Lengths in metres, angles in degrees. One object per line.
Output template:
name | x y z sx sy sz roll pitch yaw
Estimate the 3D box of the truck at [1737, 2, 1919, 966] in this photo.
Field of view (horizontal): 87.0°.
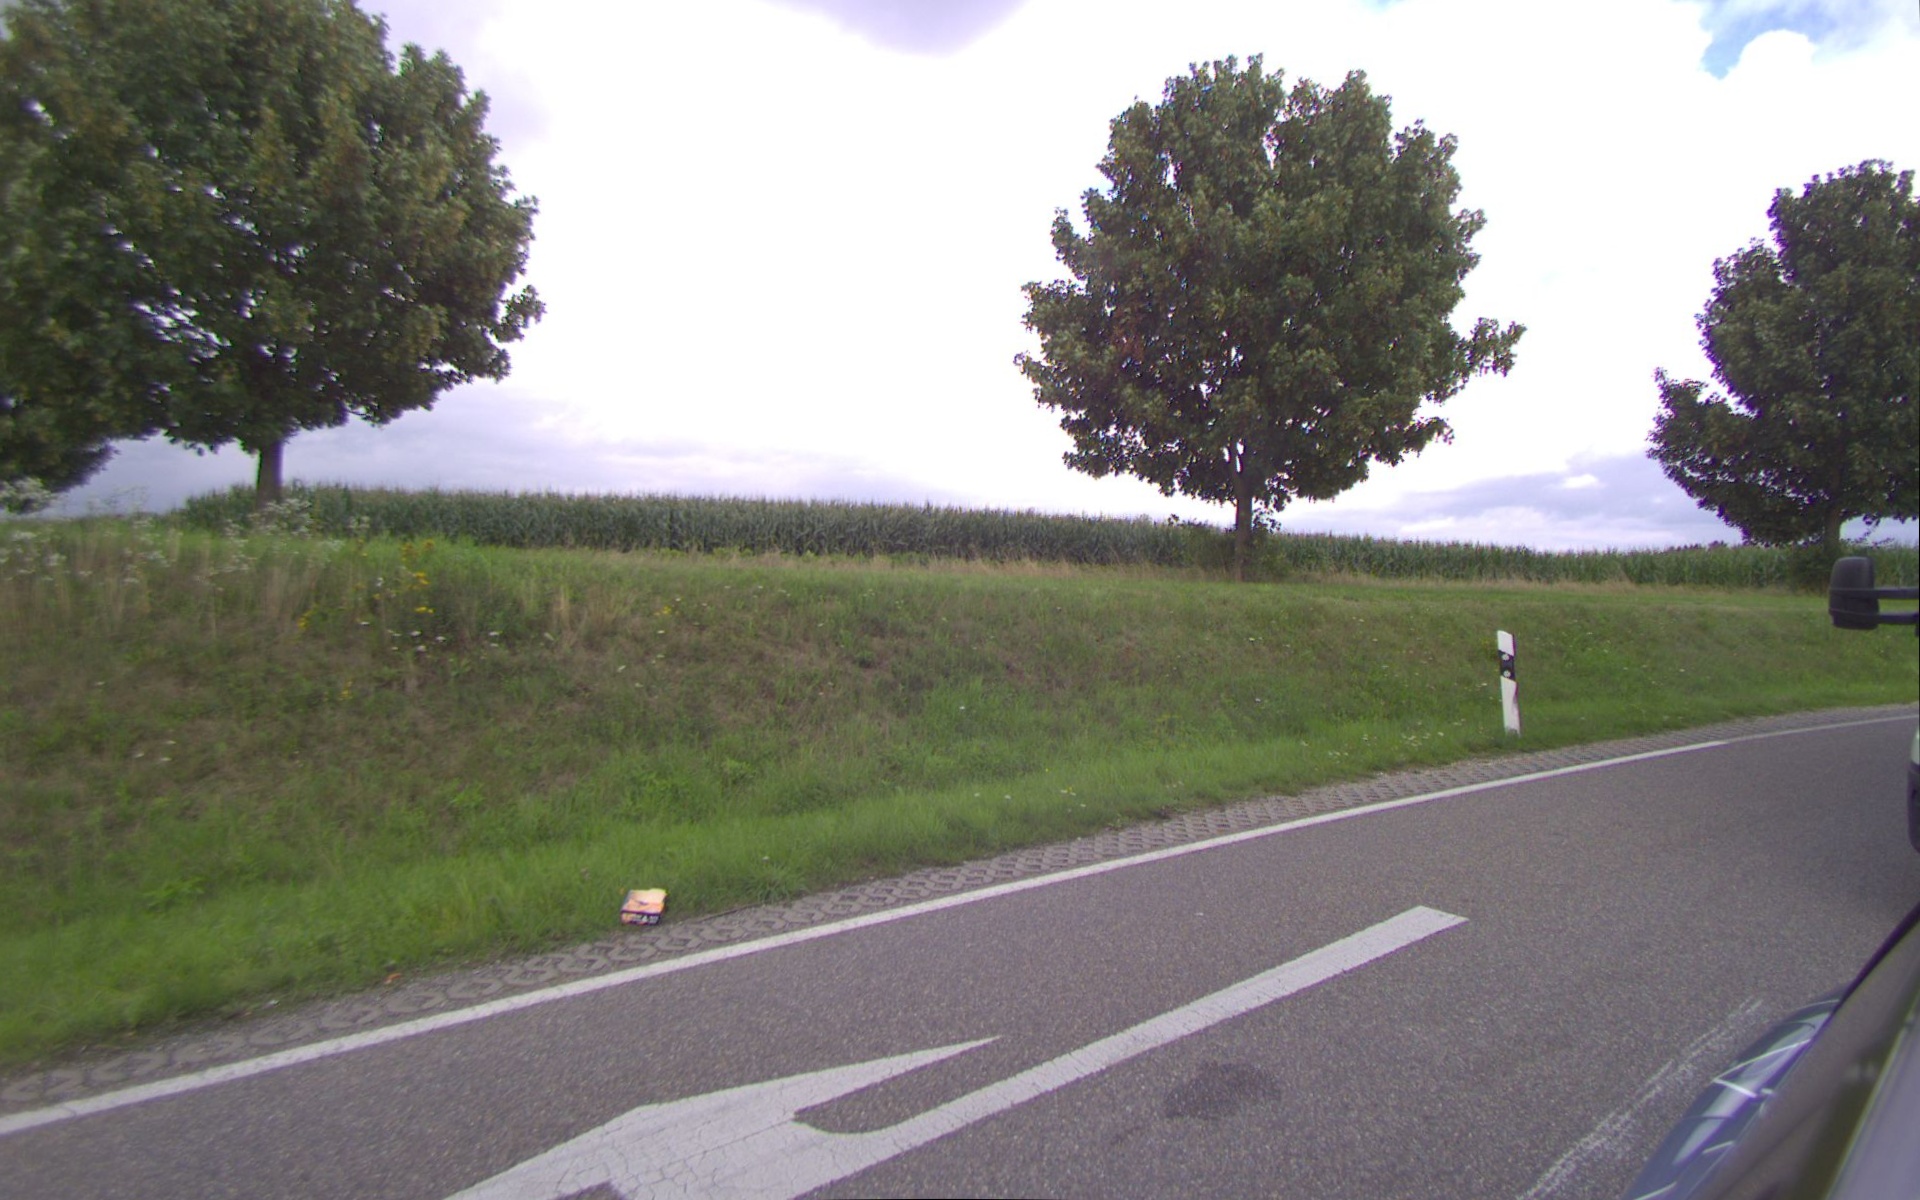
truck | 7.847 -0.506 5.689 8.630 3.810 2.841 -1 2 -34
